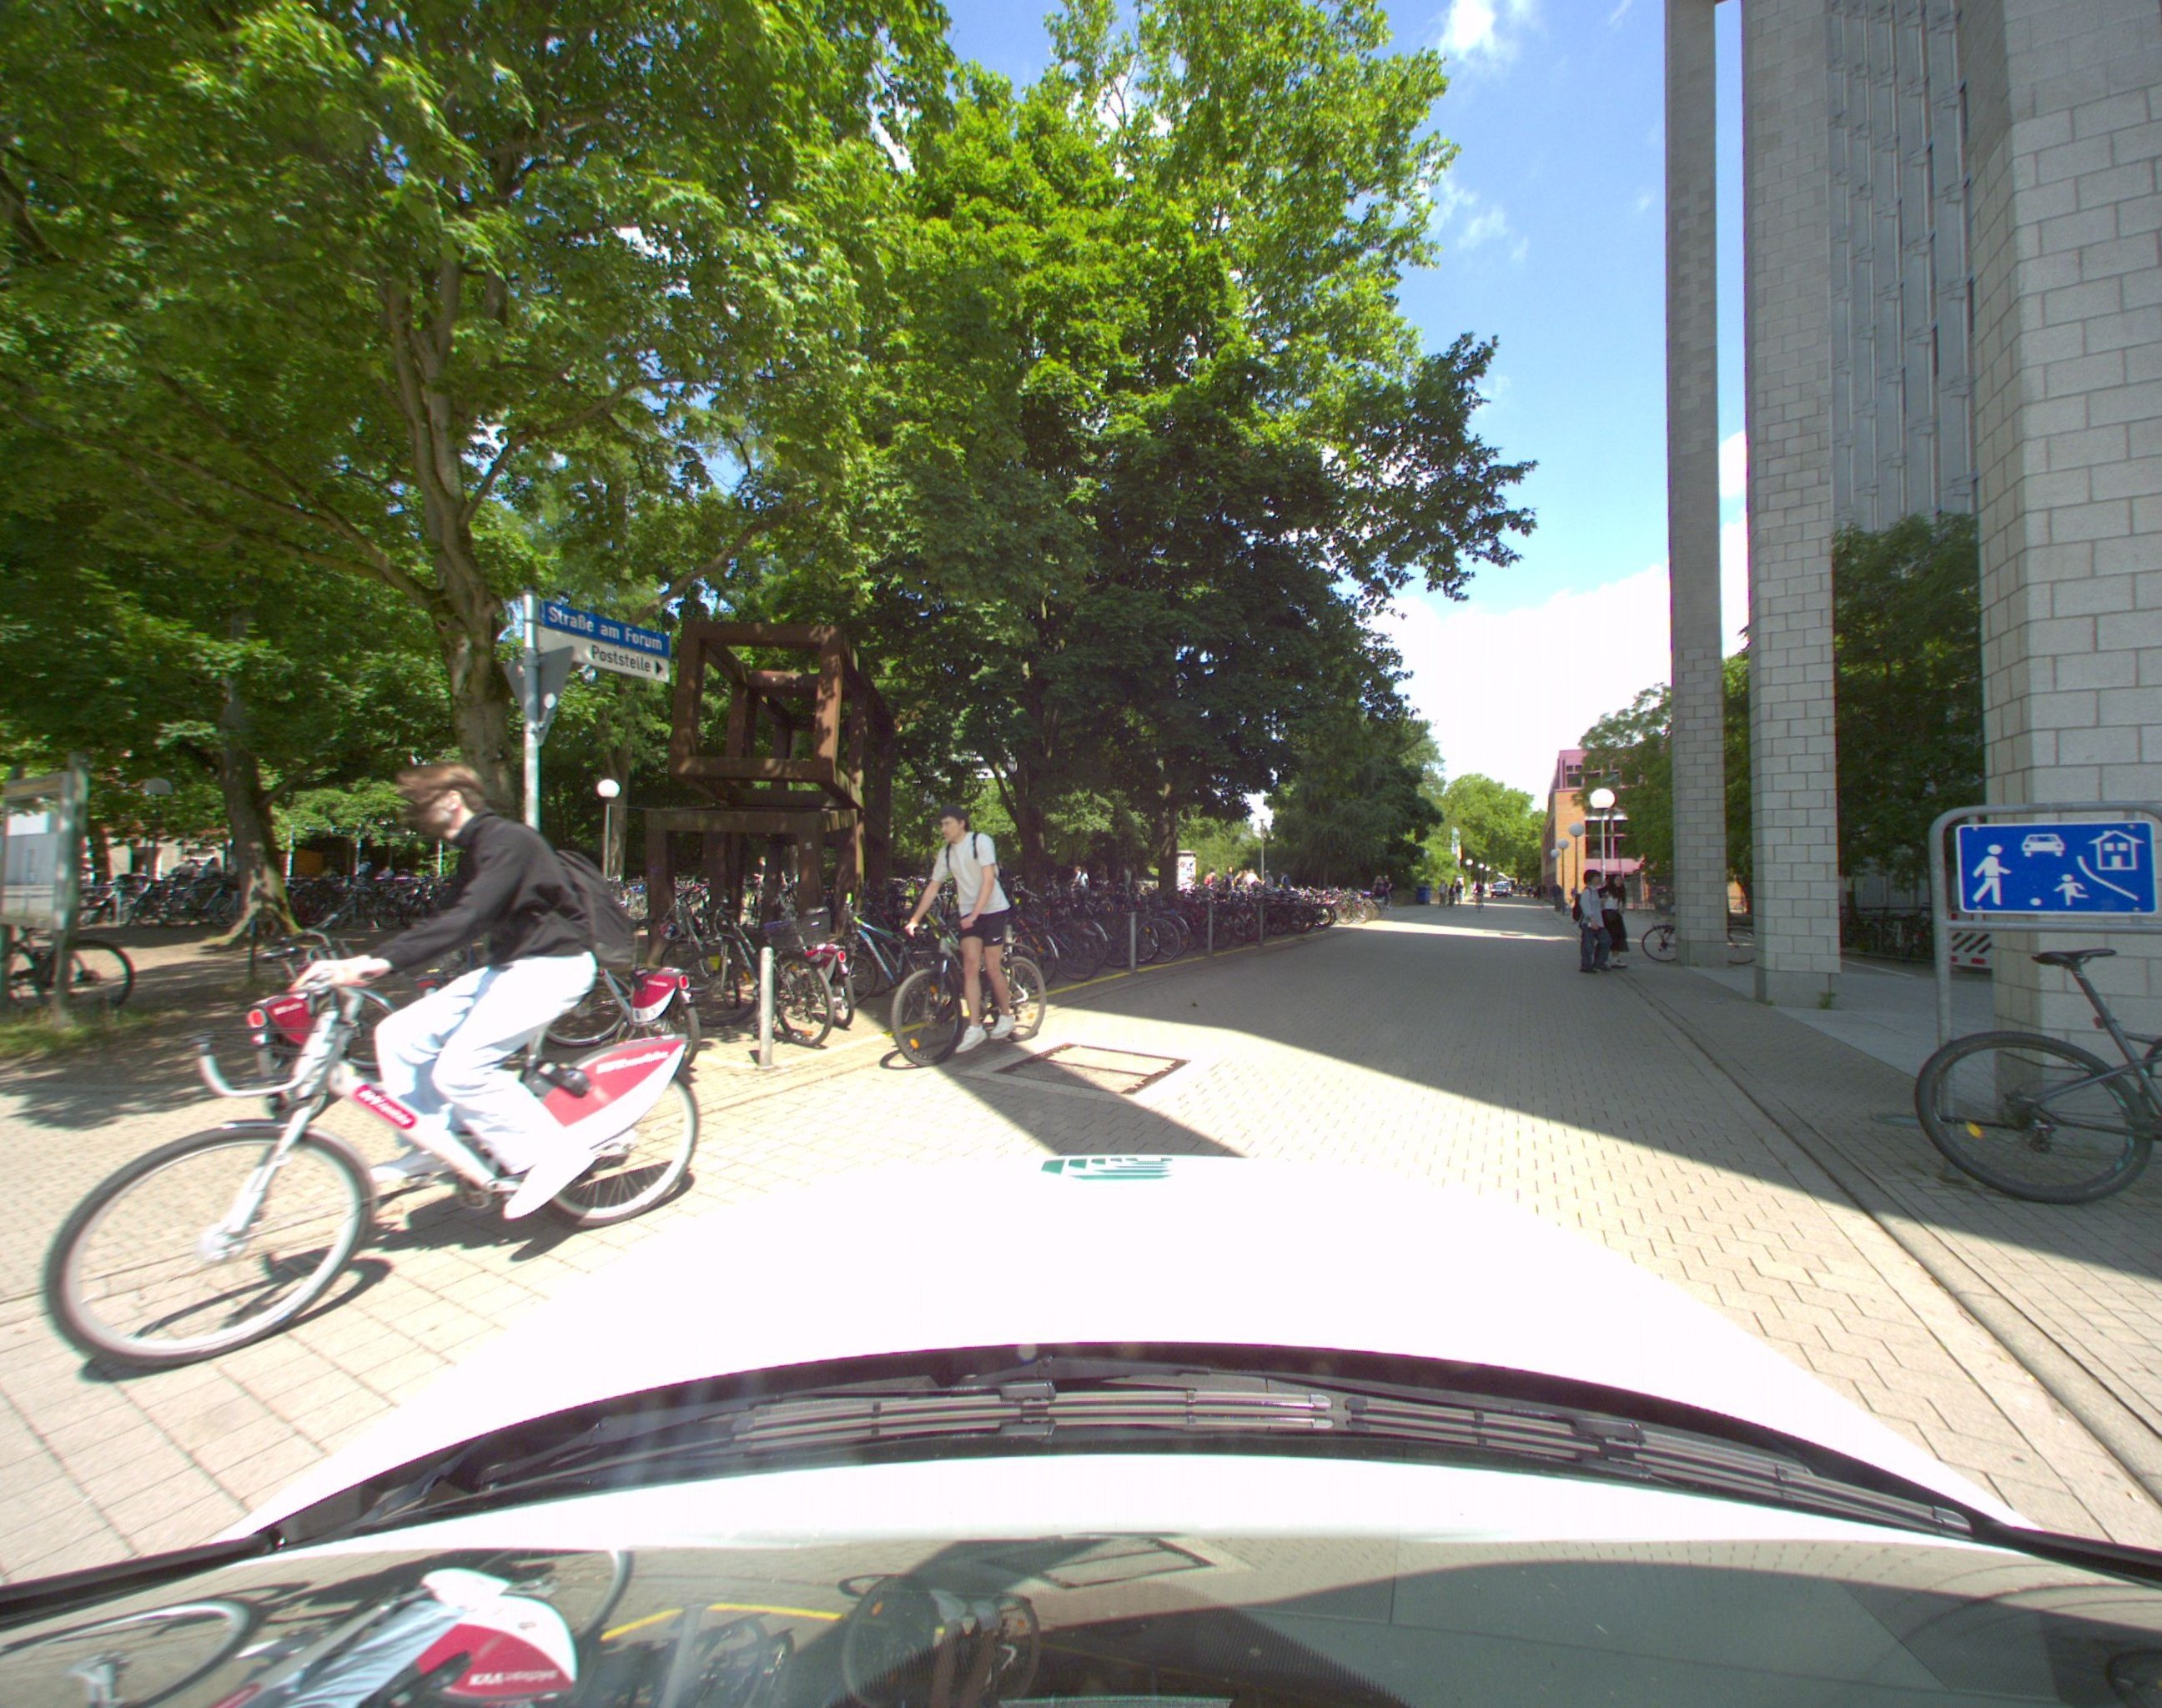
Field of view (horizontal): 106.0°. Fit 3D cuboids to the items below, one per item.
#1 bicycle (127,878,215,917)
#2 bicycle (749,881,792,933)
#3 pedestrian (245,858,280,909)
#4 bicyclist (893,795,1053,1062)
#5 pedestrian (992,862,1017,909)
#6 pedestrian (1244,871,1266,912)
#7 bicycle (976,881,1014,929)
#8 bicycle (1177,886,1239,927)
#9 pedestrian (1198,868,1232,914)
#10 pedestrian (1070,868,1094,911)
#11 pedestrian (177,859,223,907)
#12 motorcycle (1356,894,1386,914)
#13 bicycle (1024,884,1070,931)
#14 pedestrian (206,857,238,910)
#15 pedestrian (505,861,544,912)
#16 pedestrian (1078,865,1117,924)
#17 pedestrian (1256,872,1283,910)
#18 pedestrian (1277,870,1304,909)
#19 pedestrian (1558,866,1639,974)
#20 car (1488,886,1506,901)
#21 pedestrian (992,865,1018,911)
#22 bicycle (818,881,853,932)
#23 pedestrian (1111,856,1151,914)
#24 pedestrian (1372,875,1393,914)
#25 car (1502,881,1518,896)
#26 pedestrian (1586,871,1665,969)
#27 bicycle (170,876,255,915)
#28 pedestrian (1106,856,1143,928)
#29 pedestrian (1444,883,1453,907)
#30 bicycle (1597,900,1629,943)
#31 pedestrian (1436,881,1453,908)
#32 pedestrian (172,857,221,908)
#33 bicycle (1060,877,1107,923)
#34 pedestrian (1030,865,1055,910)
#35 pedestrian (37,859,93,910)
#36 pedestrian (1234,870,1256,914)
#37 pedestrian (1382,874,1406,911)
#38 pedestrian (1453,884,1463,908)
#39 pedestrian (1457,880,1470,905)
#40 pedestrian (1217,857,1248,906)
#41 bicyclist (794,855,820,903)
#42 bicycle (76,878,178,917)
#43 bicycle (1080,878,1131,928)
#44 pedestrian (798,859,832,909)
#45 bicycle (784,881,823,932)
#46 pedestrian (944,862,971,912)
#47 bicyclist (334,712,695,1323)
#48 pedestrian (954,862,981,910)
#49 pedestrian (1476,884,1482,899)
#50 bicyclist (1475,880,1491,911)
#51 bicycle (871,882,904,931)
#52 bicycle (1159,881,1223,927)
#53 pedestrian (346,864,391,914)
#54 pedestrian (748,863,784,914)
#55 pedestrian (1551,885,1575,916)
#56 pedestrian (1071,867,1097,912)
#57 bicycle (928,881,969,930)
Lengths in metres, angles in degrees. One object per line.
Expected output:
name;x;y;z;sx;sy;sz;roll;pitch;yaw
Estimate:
bicycle;-26.424;1.245;23.692;0.471;1.084;1.857;1;-2;-2
bicycle;-7.089;1.183;18.675;0.501;1.108;1.901;1;-2;-8
pedestrian;-28.603;1.028;28.456;0.651;1.775;0.613;0;-2;23
bicyclist;-0.831;0.536;6.383;0.795;1.892;0.873;1;-2;37
pedestrian;-2.908;1.207;31.089;0.902;1.775;0.768;1;-2;-5
pedestrian;7.477;1.611;34.993;0.683;1.724;0.729;0;-2;-7
bicycle;-2.143;1.236;20.149;0.503;1.108;1.687;2;-2;-21
bicycle;3.619;1.474;23.240;1.681;1.108;0.505;1;-2;17
pedestrian;5.043;1.378;30.667;1.067;1.724;0.712;1;-2;-29
pedestrian;0.033;1.402;32.224;0.902;1.680;0.768;1;-2;-5
pedestrian;-33.780;1.119;31.246;0.898;1.802;0.772;1;-2;11
motorcycle;16.549;2.834;46.544;0.474;1.047;2.013;2;-1;-18
bicycle;-0.869;1.313;20.365;0.503;1.108;1.685;2;-2;-25
pedestrian;-29.102;0.989;27.605;0.662;1.771;0.505;0;-2;25
pedestrian;-19.977;1.147;29.221;0.895;1.775;0.774;0;-2;29
pedestrian;0.486;1.176;23.998;0.908;1.703;0.764;2;-2;-25
pedestrian;9.096;1.790;39.264;0.986;1.804;0.763;2;-2;-29
pedestrian;9.939;1.678;38.606;0.884;1.815;0.827;2;-2;-27
pedestrian;8.402;1.049;13.241;0.676;1.670;0.892;3;-2;-24
car;50.462;4.781;98.640;1.773;1.762;4.508;-1;-2;29
pedestrian;-2.801;1.245;30.177;0.902;1.680;0.768;1;-2;-5
bicycle;-5.769;1.214;19.192;0.501;1.108;1.774;1;-2;-8
pedestrian;1.492;0.916;24.379;0.909;1.703;0.763;2;-2;-29
pedestrian;13.285;1.776;35.850;0.760;1.680;0.912;-1;-2;26
car;57.818;4.577;109.770;1.866;1.974;5.246;0;-2;29
pedestrian;9.305;1.108;13.939;0.806;1.617;0.737;0;-2;-15
bicycle;-25.213;1.182;23.677;0.471;1.084;1.857;1;-2;-2
pedestrian;1.133;0.981;21.133;0.768;1.807;0.706;1;-2;-14
pedestrian;28.450;3.165;63.028;0.676;1.873;1.127;0;-3;24
bicycle;13.884;1.744;21.280;0.532;1.039;1.869;-1;-3;28
pedestrian;26.168;2.914;58.646;0.779;1.845;1.119;1;-1;5
pedestrian;-31.553;1.011;29.067;0.898;1.775;0.772;1;-2;11
bicycle;0.037;1.156;20.670;0.503;1.108;1.685;2;-2;-25
pedestrian;-1.466;1.259;30.896;0.902;1.680;0.768;1;-2;-5
pedestrian;-36.152;1.063;28.990;0.778;1.775;0.922;1;-2;11
pedestrian;6.674;1.543;33.170;0.678;1.724;0.735;1;-2;27
pedestrian;16.117;1.979;41.954;1.051;1.836;0.609;2;-2;-24
pedestrian;25.328;2.833;54.716;0.563;1.611;0.923;0;-3;26
pedestrian;28.382;2.850;60.438;0.676;1.844;0.788;0;-3;39
pedestrian;5.811;1.055;31.289;0.943;1.835;0.680;1;-2;-27
bicyclist;-9.229;0.850;27.433;0.719;1.568;0.593;2;-2;-11
bicycle;-27.563;1.233;23.570;0.469;1.084;1.865;1;-2;12
bicycle;0.610;1.235;20.904;0.577;1.200;1.685;2;-2;-25
pedestrian;-9.641;1.100;29.562;0.899;1.775;0.771;1;-2;7
bicycle;-6.485;1.210;19.097;0.501;1.108;1.774;1;-2;-8
pedestrian;-4.456;1.173;29.435;0.902;1.775;0.768;1;-2;-5
bicyclist;-2.129;0.505;3.101;0.666;1.887;0.975;1;0;44
pedestrian;-4.201;1.187;30.253;0.902;1.775;0.768;1;-2;-5
pedestrian;47.705;4.484;97.629;0.676;1.844;0.788;0;-3;29
bicyclist;22.359;2.304;45.281;0.764;1.716;0.916;-1;-4;26
bicycle;-4.616;1.226;19.379;0.503;1.108;1.687;2;-2;-21
bicycle;3.019;1.361;22.359;1.681;1.220;0.505;1;-2;17
pedestrian;-25.956;1.255;29.688;0.898;1.775;0.772;1;-2;11
pedestrian;-11.129;1.220;28.800;0.899;1.775;0.771;1;-2;6
pedestrian;30.094;2.891;50.844;1.024;1.858;0.889;1;-2;3
pedestrian;0.105;1.355;31.405;0.902;1.680;0.768;1;-2;-5
bicycle;-3.246;1.236;19.813;0.631;1.108;1.687;2;-2;-21
